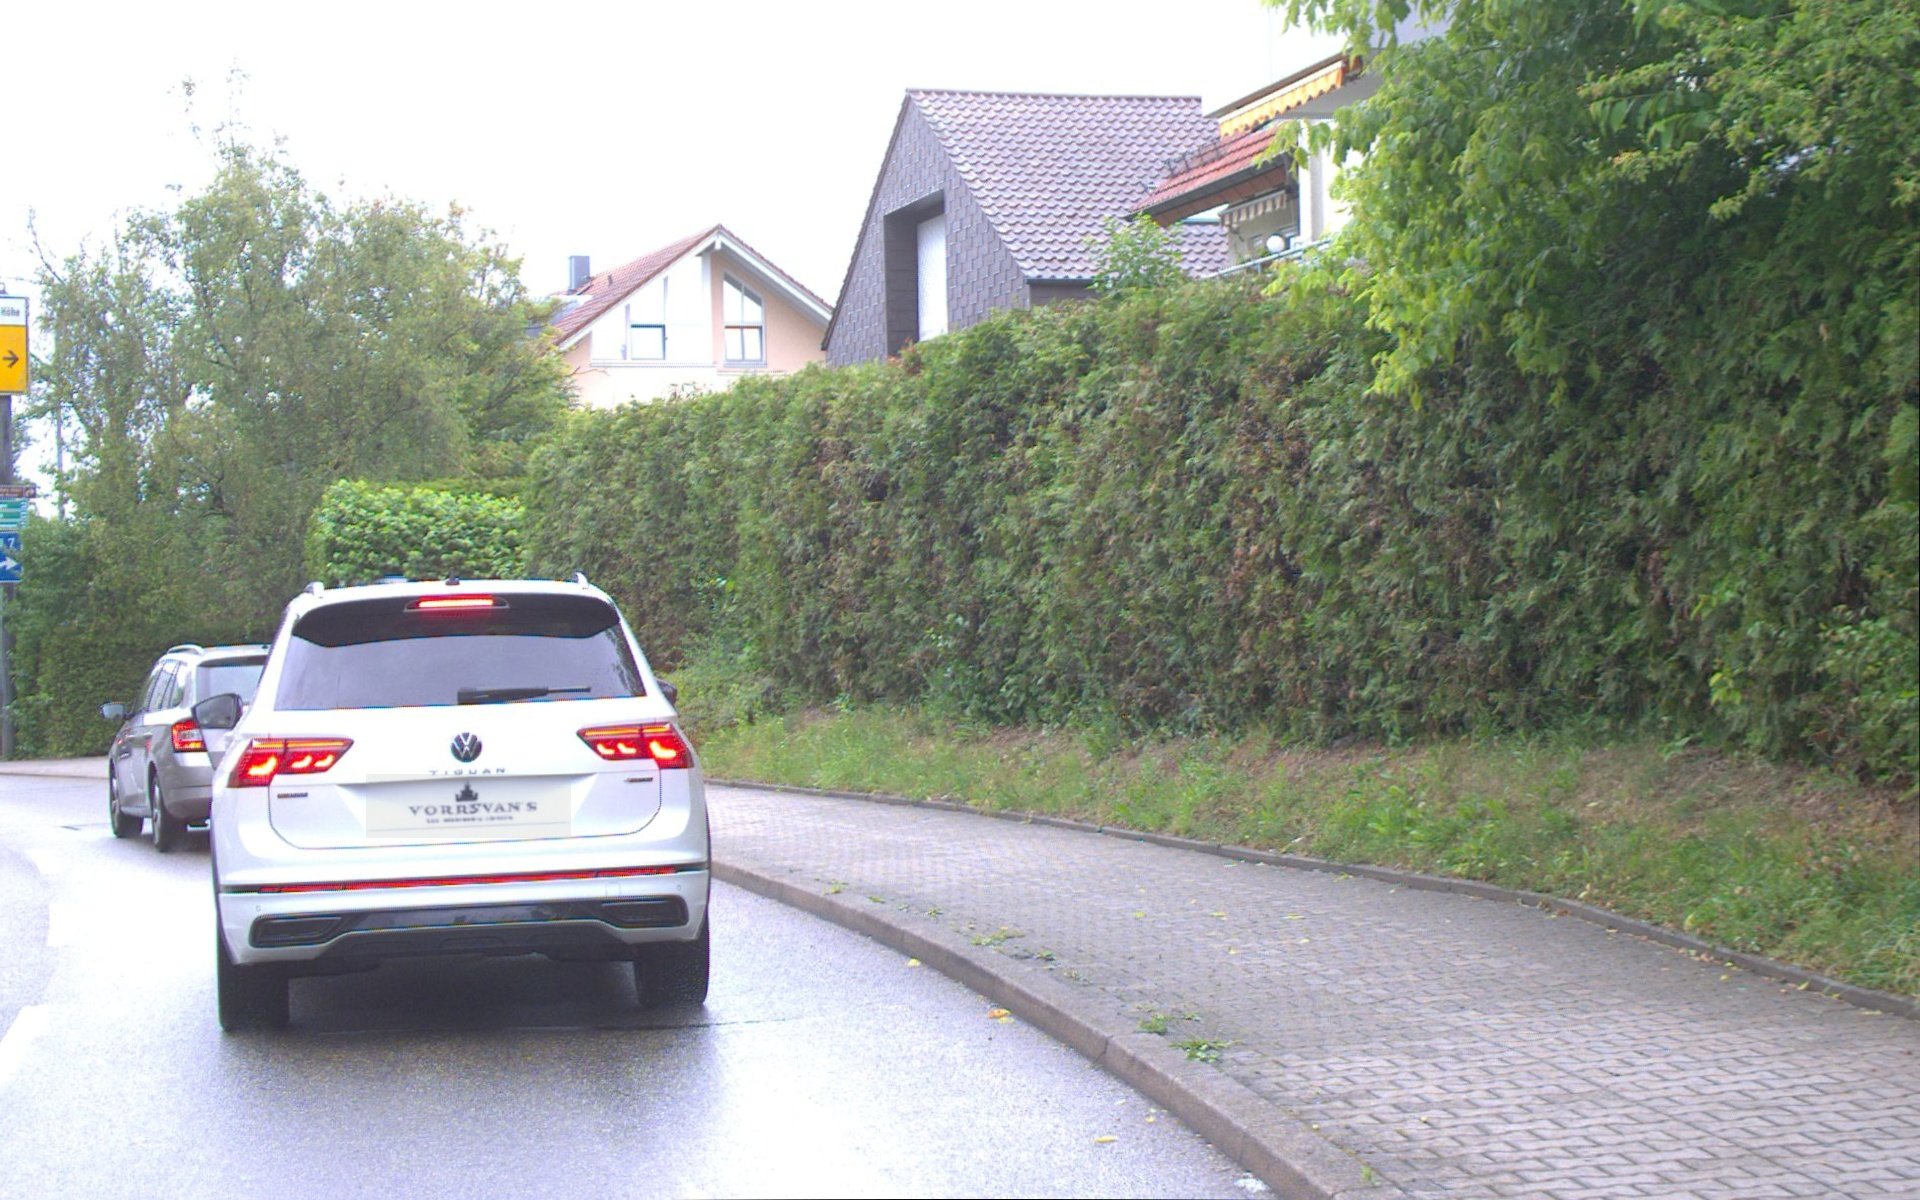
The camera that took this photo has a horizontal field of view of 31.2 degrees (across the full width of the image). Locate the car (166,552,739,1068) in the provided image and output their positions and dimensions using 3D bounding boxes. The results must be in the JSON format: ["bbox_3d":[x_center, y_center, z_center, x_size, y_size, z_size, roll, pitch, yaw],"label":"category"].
[{"bbox_3d":[-2.049,0.735,13.977,1.920,1.716,4.265,-1,0,-8],"label":"car"}]

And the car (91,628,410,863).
[{"bbox_3d":[-5.404,1.032,25.832,1.764,1.505,4.001,1,1,-20],"label":"car"}]
